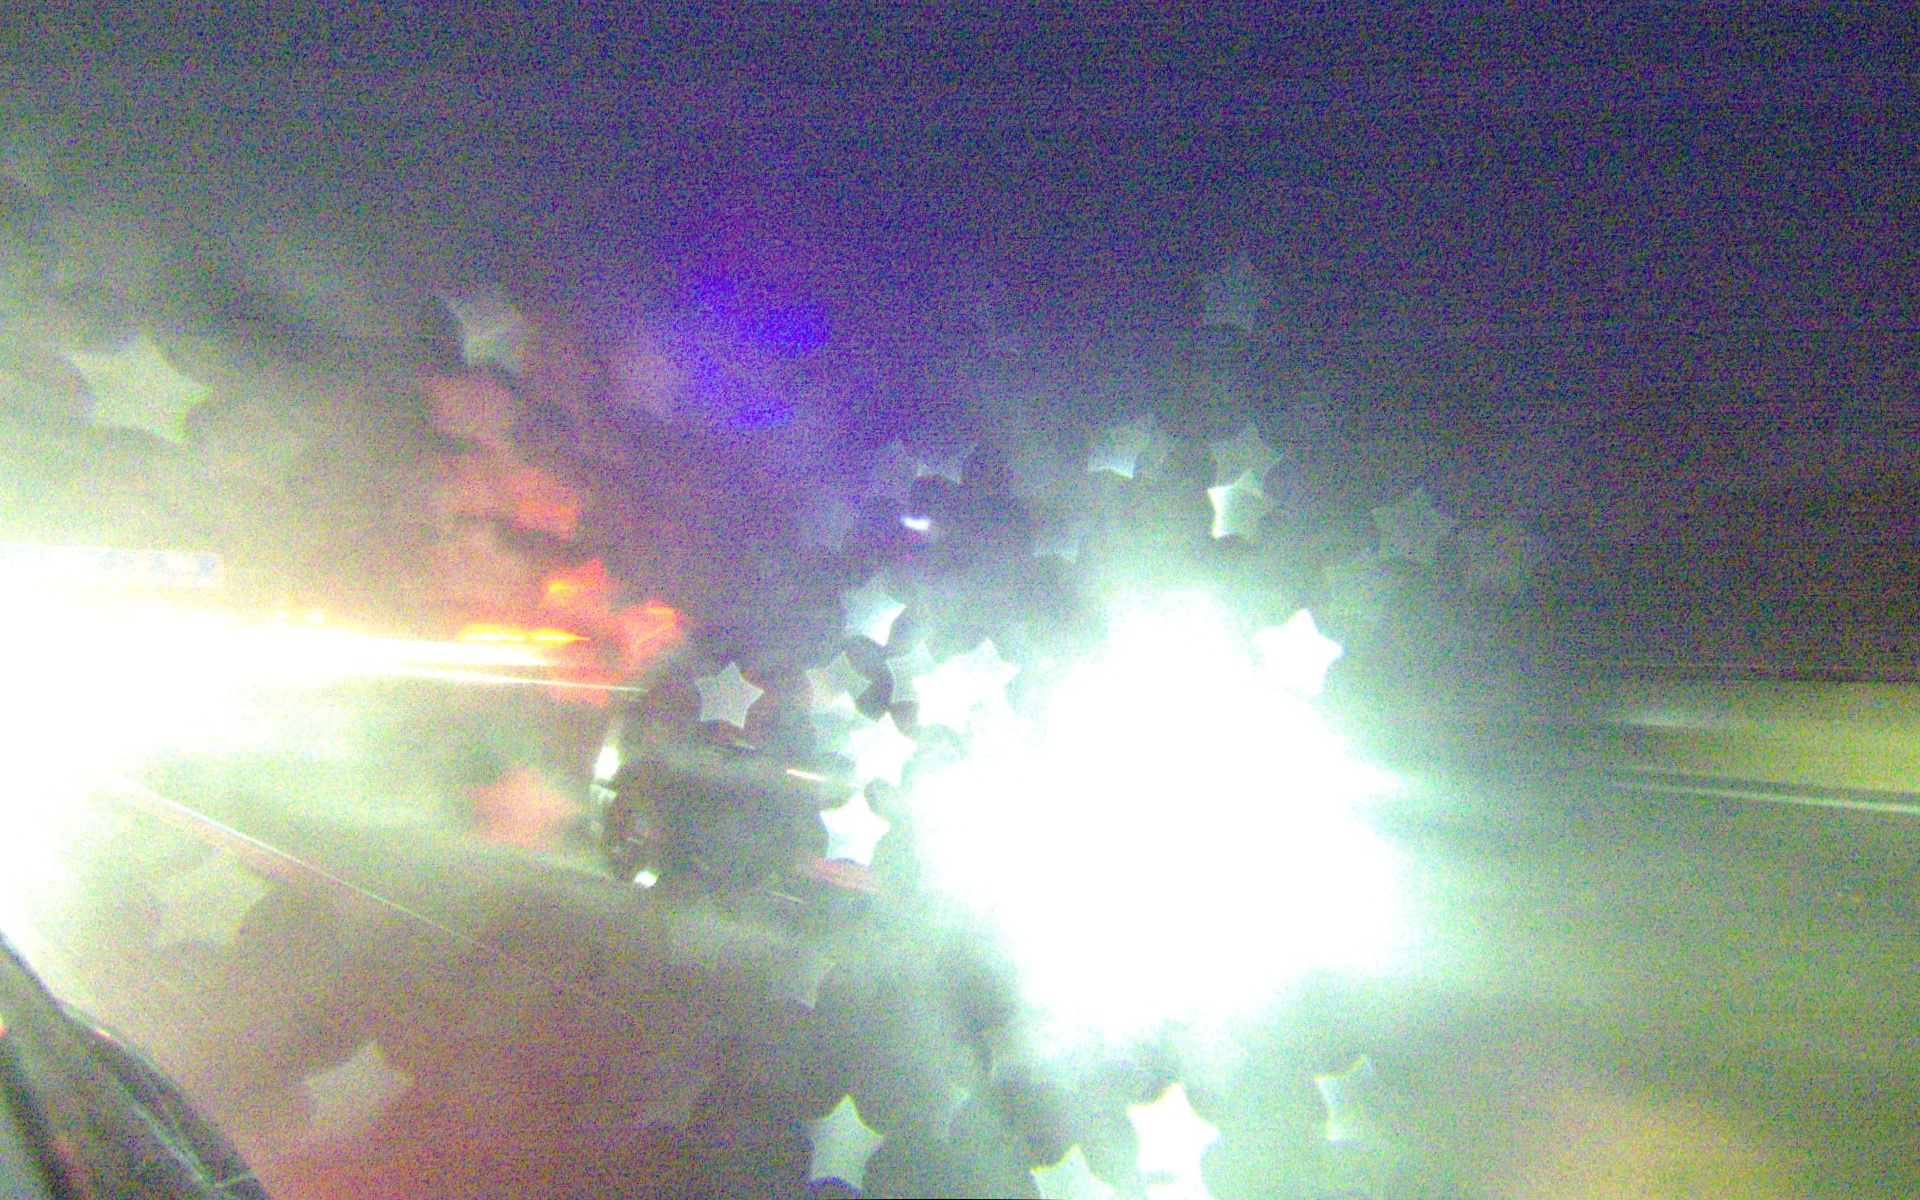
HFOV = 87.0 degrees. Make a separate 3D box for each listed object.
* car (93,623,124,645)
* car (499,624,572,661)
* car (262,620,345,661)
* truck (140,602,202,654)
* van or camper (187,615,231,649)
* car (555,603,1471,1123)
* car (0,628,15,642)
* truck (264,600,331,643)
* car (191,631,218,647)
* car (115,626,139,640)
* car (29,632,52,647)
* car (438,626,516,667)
[{"bbox_3d":[-85.814,3.407,101.979,3.998,2.029,1.772,-1,0,41],"label":"car"},{"bbox_3d":[-20.729,2.048,49.315,3.885,1.685,1.745,-1,0,41],"label":"car"},{"bbox_3d":[-31.399,1.895,48.314,5.162,1.820,1.973,-1,0,41],"label":"car"},{"bbox_3d":[-103.615,3.569,132.682,17.294,6.460,3.189,-1,0,41],"label":"truck"},{"bbox_3d":[-85.876,3.626,115.699,7.675,3.729,2.488,-1,0,41],"label":"van or camper"},{"bbox_3d":[-0.087,0.779,4.833,4.243,1.441,1.640,-2,-1,40],"label":"car"},{"bbox_3d":[-142.394,5.174,150.517,5.266,1.904,2.053,-1,0,41],"label":"car"},{"bbox_3d":[-49.497,1.578,75.547,6.698,3.022,2.426,-1,0,41],"label":"truck"},{"bbox_3d":[-77.208,3.991,103.447,3.460,1.512,1.527,-1,0,41],"label":"car"},{"bbox_3d":[-101.595,3.988,123.420,4.203,1.640,1.659,-1,0,41],"label":"car"},{"bbox_3d":[-118.481,5.101,130.320,4.754,1.812,1.647,-1,0,41],"label":"car"},{"bbox_3d":[-21.707,2.050,45.433,3.885,1.685,1.745,-1,0,41],"label":"car"}]
